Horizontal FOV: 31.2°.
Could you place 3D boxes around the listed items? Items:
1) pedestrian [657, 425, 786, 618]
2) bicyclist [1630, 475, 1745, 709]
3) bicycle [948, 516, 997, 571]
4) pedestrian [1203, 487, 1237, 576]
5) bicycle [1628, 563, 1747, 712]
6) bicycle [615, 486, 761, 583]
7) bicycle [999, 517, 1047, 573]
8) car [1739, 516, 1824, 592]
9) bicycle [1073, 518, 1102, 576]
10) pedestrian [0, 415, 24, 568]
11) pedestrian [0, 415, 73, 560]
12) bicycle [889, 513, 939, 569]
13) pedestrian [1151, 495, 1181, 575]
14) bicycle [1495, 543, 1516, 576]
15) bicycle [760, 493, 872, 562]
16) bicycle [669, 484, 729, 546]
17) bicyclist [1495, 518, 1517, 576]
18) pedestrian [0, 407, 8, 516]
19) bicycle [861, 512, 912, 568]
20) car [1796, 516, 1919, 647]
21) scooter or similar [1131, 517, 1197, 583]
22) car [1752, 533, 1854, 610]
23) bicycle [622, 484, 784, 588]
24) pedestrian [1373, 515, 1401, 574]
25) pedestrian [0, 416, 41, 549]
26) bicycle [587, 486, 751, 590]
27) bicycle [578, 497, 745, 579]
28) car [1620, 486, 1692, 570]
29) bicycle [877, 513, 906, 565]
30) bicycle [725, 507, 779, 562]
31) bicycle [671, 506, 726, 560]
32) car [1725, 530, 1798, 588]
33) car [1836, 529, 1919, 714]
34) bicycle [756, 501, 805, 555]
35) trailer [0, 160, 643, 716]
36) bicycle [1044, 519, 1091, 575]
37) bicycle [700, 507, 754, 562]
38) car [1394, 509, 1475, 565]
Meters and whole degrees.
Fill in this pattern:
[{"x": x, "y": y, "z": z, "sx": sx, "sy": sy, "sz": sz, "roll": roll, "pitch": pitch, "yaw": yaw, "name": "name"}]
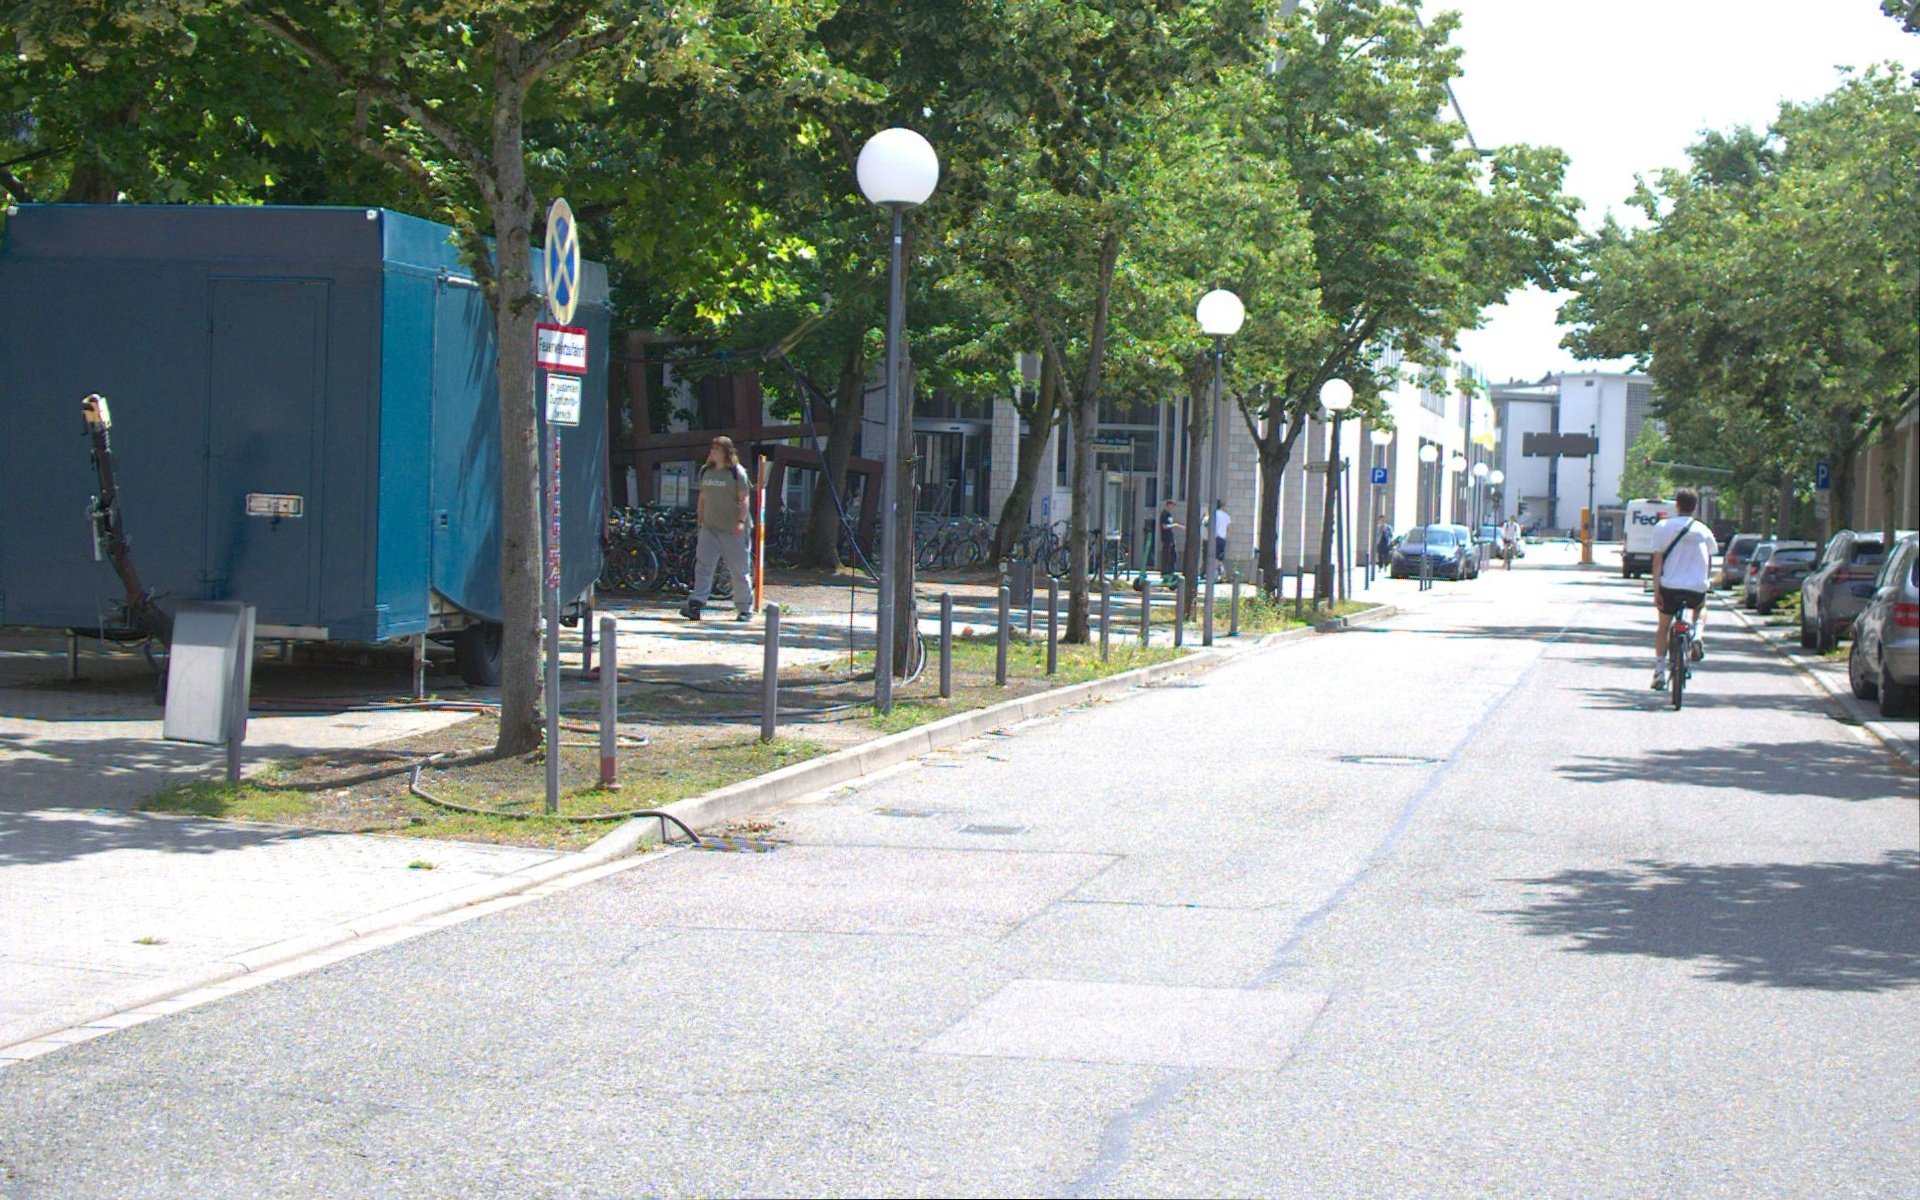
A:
[{"x": -2.507, "y": -0.819, "z": 36.214, "sx": 0.919, "sy": 1.948, "sz": 0.891, "roll": 5, "pitch": 2, "yaw": 21, "name": "pedestrian"}, {"x": 6.462, "y": -0.080, "z": 30.580, "sx": 0.874, "sy": 2.006, "sz": 0.849, "roll": 3, "pitch": 2, "yaw": 10, "name": "bicyclist"}, {"x": 0.256, "y": -1.157, "z": 70.469, "sx": 0.552, "sy": 1.082, "sz": 1.972, "roll": 4, "pitch": 2, "yaw": 11, "name": "bicycle"}, {"x": 5.786, "y": -1.535, "z": 76.512, "sx": 0.412, "sy": 1.935, "sz": 0.663, "roll": 3, "pitch": 2, "yaw": -18, "name": "pedestrian"}, {"x": 6.456, "y": 0.302, "z": 30.625, "sx": 0.882, "sy": 1.195, "sz": 2.748, "roll": 3, "pitch": 2, "yaw": 10, "name": "bicycle"}, {"x": -3.437, "y": -0.827, "z": 43.340, "sx": 1.773, "sy": 1.128, "sz": 0.459, "roll": 3, "pitch": 2, "yaw": -6, "name": "bicycle"}, {"x": 1.288, "y": -1.117, "z": 69.953, "sx": 0.552, "sy": 1.082, "sz": 1.972, "roll": 4, "pitch": 2, "yaw": 11, "name": "bicycle"}, {"x": 17.924, "y": -1.021, "z": 75.143, "sx": 1.617, "sy": 1.533, "sz": 3.778, "roll": 3, "pitch": 2, "yaw": 12, "name": "car"}, {"x": 2.334, "y": -0.979, "z": 63.131, "sx": 0.381, "sy": 1.022, "sz": 1.815, "roll": 3, "pitch": 2, "yaw": -1, "name": "bicycle"}, {"x": -12.731, "y": -1.431, "z": 43.869, "sx": 1.121, "sy": 1.941, "sz": 0.892, "roll": 3, "pitch": 2, "yaw": -41, "name": "pedestrian"}, {"x": -13.058, "y": -1.577, "z": 47.903, "sx": 0.918, "sy": 1.941, "sz": 0.892, "roll": 3, "pitch": 2, "yaw": -41, "name": "pedestrian"}, {"x": -0.936, "y": -1.207, "z": 70.370, "sx": 0.552, "sy": 1.082, "sz": 1.972, "roll": 4, "pitch": 2, "yaw": 11, "name": "bicycle"}, {"x": 4.645, "y": -1.463, "z": 77.557, "sx": 0.441, "sy": 1.769, "sz": 0.451, "roll": 2, "pitch": 2, "yaw": -19, "name": "pedestrian"}, {"x": 19.093, "y": -1.427, "z": 120.314, "sx": 0.685, "sy": 1.126, "sz": 1.888, "roll": 2, "pitch": 2, "yaw": 9, "name": "bicycle"}, {"x": -2.717, "y": -1.372, "z": 64.917, "sx": 2.014, "sy": 1.249, "sz": 0.588, "roll": 1, "pitch": 2, "yaw": -21, "name": "bicycle"}, {"x": -5.355, "y": -1.744, "z": 70.726, "sx": 0.525, "sy": 1.248, "sz": 2.380, "roll": 2, "pitch": 2, "yaw": 12, "name": "bicycle"}, {"x": 19.113, "y": -1.851, "z": 120.314, "sx": 0.712, "sy": 2.007, "sz": 1.018, "roll": 1, "pitch": 1, "yaw": 9, "name": "bicyclist"}, {"x": -13.750, "y": -1.728, "z": 47.330, "sx": 0.820, "sy": 1.941, "sz": 0.852, "roll": 3, "pitch": 2, "yaw": -41, "name": "pedestrian"}, {"x": -1.502, "y": -1.230, "z": 70.420, "sx": 0.552, "sy": 1.082, "sz": 1.972, "roll": 4, "pitch": 2, "yaw": 11, "name": "bicycle"}, {"x": 12.399, "y": -0.248, "z": 46.387, "sx": 1.823, "sy": 1.658, "sz": 4.582, "roll": 1, "pitch": 1, "yaw": 10, "name": "car"}, {"x": 3.765, "y": -0.919, "z": 63.312, "sx": 1.324, "sy": 1.171, "sz": 0.340, "roll": 2, "pitch": 2, "yaw": -43, "name": "scooter or similar"}, {"x": 17.046, "y": -0.608, "z": 69.674, "sx": 1.781, "sy": 1.471, "sz": 4.460, "roll": 1, "pitch": 1, "yaw": 11, "name": "car"}, {"x": -3.445, "y": -0.860, "z": 45.928, "sx": 2.053, "sy": 1.230, "sz": 0.809, "roll": 4, "pitch": 2, "yaw": -6, "name": "bicycle"}, {"x": 12.648, "y": -1.638, "z": 101.813, "sx": 0.649, "sy": 1.695, "sz": 0.889, "roll": 3, "pitch": 2, "yaw": 1, "name": "pedestrian"}, {"x": -13.753, "y": -1.706, "z": 49.956, "sx": 0.588, "sy": 1.897, "sz": 0.517, "roll": 1, "pitch": 2, "yaw": -35, "name": "pedestrian"}, {"x": -3.807, "y": -0.812, "z": 44.864, "sx": 2.053, "sy": 1.230, "sz": 0.809, "roll": 3, "pitch": 2, "yaw": -6, "name": "bicycle"}, {"x": -4.099, "y": -0.850, "z": 47.231, "sx": 2.146, "sy": 1.005, "sz": 0.678, "roll": 2, "pitch": 2, "yaw": -18, "name": "bicycle"}, {"x": 22.535, "y": -2.343, "z": 111.332, "sx": 2.085, "sy": 2.531, "sz": 4.314, "roll": 4, "pitch": 2, "yaw": 11, "name": "car"}, {"x": -1.302, "y": -1.178, "z": 65.747, "sx": 0.475, "sy": 0.962, "sz": 1.657, "roll": 3, "pitch": 2, "yaw": 0, "name": "bicycle"}, {"x": -4.276, "y": -1.343, "z": 70.855, "sx": 0.552, "sy": 1.082, "sz": 1.972, "roll": 4, "pitch": 2, "yaw": 11, "name": "bicycle"}, {"x": -5.417, "y": -1.389, "z": 71.224, "sx": 0.552, "sy": 1.082, "sz": 1.972, "roll": 4, "pitch": 2, "yaw": 11, "name": "bicycle"}, {"x": 22.643, "y": -1.188, "z": 97.223, "sx": 1.859, "sy": 1.568, "sz": 3.998, "roll": 1, "pitch": 1, "yaw": 12, "name": "car"}, {"x": 9.033, "y": 0.157, "z": 31.279, "sx": 1.705, "sy": 1.568, "sz": 4.139, "roll": 1, "pitch": 1, "yaw": 10, "name": "car"}, {"x": -3.561, "y": -1.429, "z": 68.225, "sx": 0.476, "sy": 1.029, "sz": 1.849, "roll": 3, "pitch": 2, "yaw": 12, "name": "bicycle"}, {"x": -4.334, "y": -1.010, "z": 22.425, "sx": 2.698, "sy": 3.016, "sz": 6.263, "roll": 4, "pitch": 2, "yaw": 11, "name": "trailer"}, {"x": 2.182, "y": -1.081, "z": 69.570, "sx": 0.552, "sy": 1.082, "sz": 1.972, "roll": 4, "pitch": 2, "yaw": 11, "name": "bicycle"}, {"x": -4.812, "y": -1.365, "z": 71.125, "sx": 0.552, "sy": 1.082, "sz": 1.972, "roll": 4, "pitch": 2, "yaw": 11, "name": "bicycle"}, {"x": 13.028, "y": -1.724, "z": 94.287, "sx": 1.767, "sy": 1.422, "sz": 4.232, "roll": 3, "pitch": 1, "yaw": 13, "name": "car"}]
